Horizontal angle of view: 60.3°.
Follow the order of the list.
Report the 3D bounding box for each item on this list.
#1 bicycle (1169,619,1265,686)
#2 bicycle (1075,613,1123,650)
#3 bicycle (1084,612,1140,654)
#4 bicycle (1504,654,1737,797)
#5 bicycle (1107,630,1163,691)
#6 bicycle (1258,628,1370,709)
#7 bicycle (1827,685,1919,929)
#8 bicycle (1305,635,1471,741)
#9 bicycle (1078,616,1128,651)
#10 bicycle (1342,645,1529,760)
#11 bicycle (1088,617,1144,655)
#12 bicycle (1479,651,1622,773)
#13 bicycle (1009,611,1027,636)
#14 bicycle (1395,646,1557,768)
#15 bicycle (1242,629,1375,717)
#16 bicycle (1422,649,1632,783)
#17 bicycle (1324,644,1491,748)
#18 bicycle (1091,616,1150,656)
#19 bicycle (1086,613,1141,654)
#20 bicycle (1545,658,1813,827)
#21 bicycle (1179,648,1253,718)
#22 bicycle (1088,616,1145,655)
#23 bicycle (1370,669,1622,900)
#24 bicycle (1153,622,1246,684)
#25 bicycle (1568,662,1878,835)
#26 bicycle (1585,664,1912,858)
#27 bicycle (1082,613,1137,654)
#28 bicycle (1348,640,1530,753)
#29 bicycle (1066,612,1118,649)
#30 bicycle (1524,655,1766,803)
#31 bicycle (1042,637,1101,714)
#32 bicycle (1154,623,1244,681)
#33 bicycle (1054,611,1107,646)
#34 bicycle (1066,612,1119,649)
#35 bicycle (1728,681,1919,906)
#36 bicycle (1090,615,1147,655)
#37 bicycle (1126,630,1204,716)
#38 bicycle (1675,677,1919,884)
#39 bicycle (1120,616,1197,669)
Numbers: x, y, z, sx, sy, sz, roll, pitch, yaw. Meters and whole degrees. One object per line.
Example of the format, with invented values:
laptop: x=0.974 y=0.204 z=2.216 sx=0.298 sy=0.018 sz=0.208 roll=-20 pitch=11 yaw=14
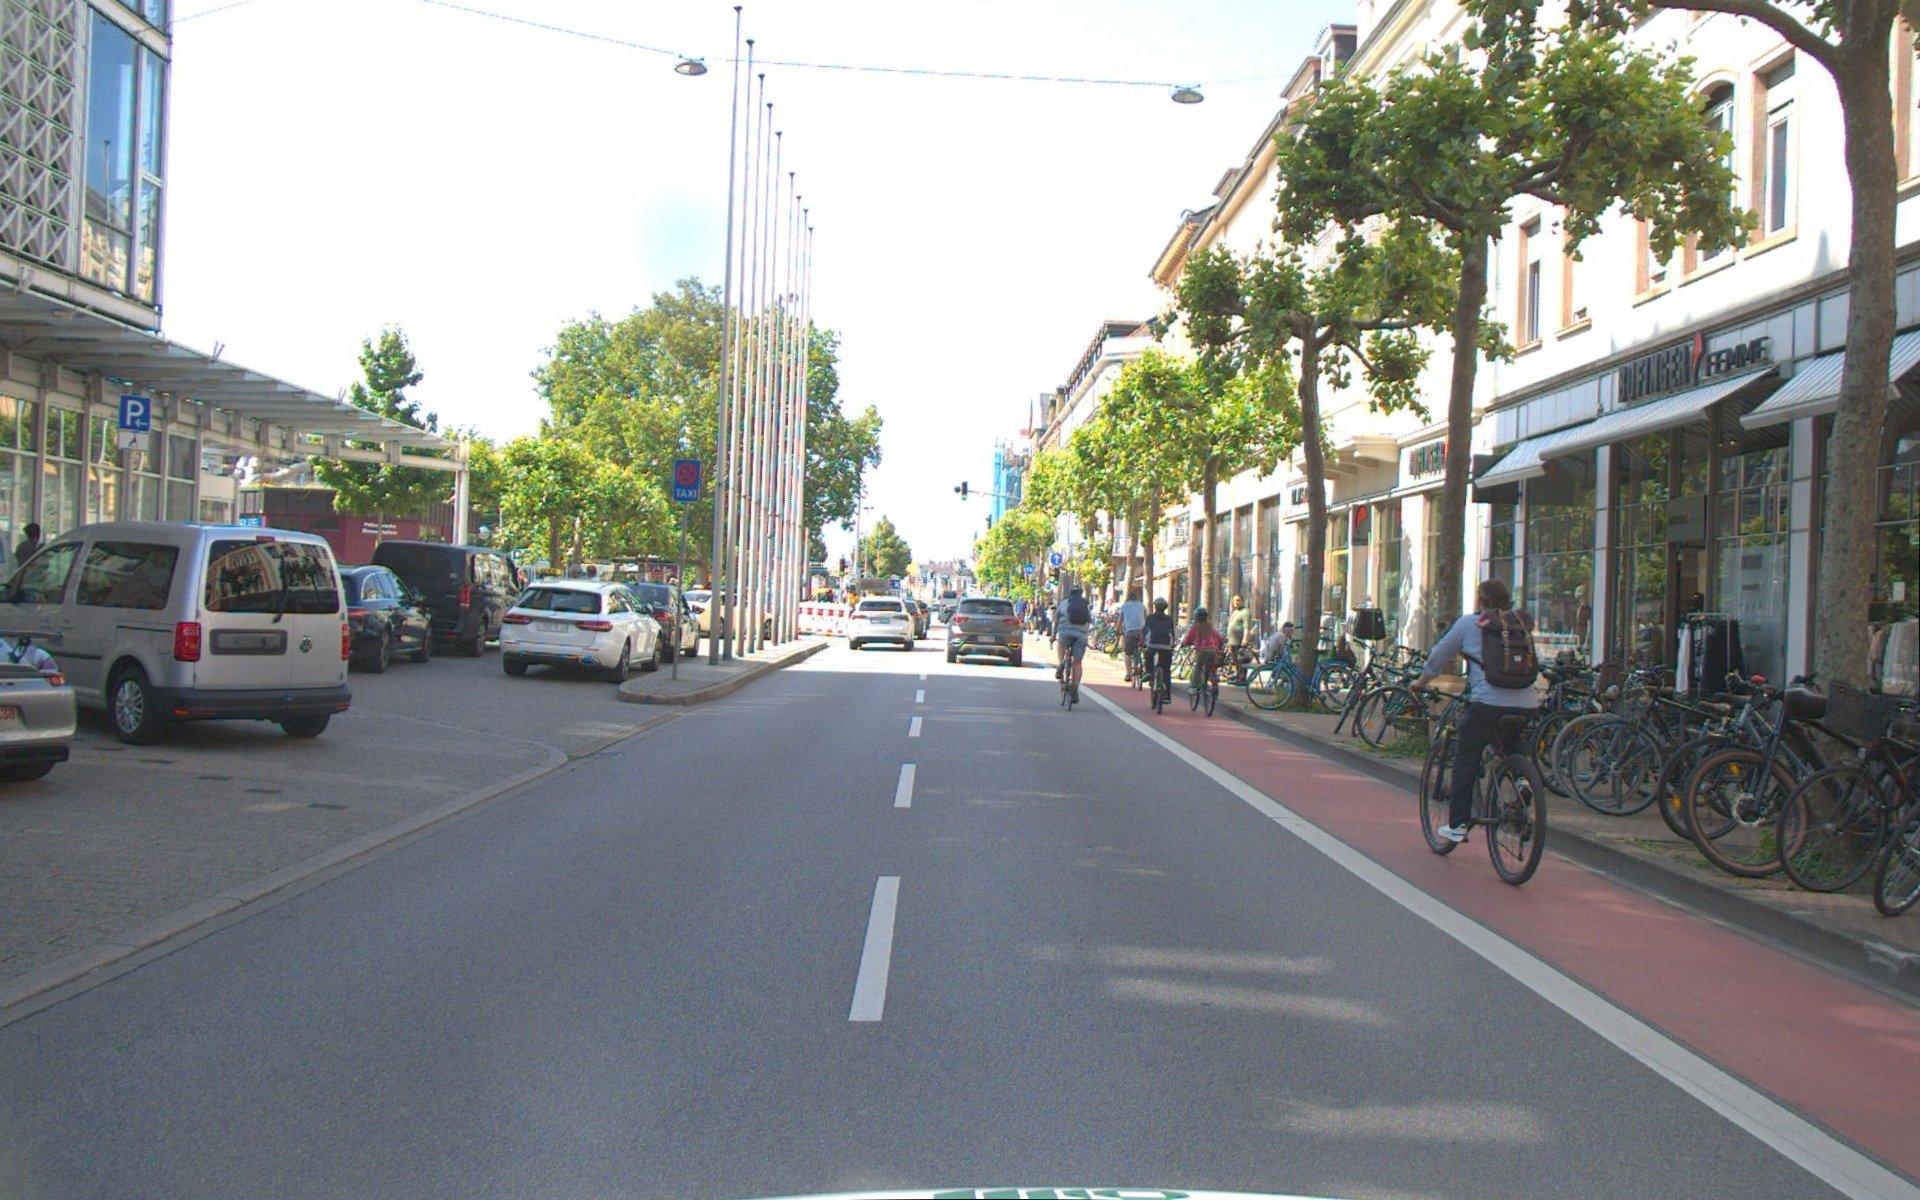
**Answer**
bicycle: x=5.044 y=1.033 z=32.549 sx=1.801 sy=1.218 sz=0.674 roll=3 pitch=-1 yaw=6
bicycle: x=4.858 y=1.086 z=57.949 sx=1.615 sy=1.222 sz=0.474 roll=2 pitch=-1 yaw=1
bicycle: x=4.779 y=1.043 z=52.001 sx=1.693 sy=1.238 sz=0.477 roll=2 pitch=-1 yaw=1
bicycle: x=5.645 y=1.061 z=14.182 sx=1.802 sy=1.147 sz=0.448 roll=2 pitch=-2 yaw=2
bicycle: x=3.228 y=1.108 z=30.685 sx=0.758 sy=1.023 sz=2.329 roll=2 pitch=0 yaw=-1
bicycle: x=5.610 y=1.090 z=26.199 sx=1.755 sy=1.218 sz=0.572 roll=3 pitch=-1 yaw=-29
bicycle: x=5.420 y=1.034 z=8.277 sx=1.802 sy=1.147 sz=0.666 roll=2 pitch=-1 yaw=1
bicycle: x=5.192 y=1.066 z=20.072 sx=1.807 sy=1.146 sz=0.630 roll=4 pitch=-1 yaw=-12
bicycle: x=4.883 y=1.136 z=56.426 sx=1.615 sy=1.114 sz=0.607 roll=2 pitch=-1 yaw=1
bicycle: x=5.119 y=1.098 z=17.857 sx=1.803 sy=1.112 sz=0.564 roll=3 pitch=-1 yaw=-1
bicycle: x=4.863 y=1.121 z=51.641 sx=1.693 sy=1.128 sz=0.477 roll=2 pitch=-1 yaw=1
bicycle: x=5.896 y=1.102 z=16.465 sx=1.827 sy=1.147 sz=0.442 roll=3 pitch=-2 yaw=-39
bicycle: x=2.467 y=0.999 z=70.144 sx=0.634 sy=1.015 sz=2.030 roll=2 pitch=0 yaw=-1
bicycle: x=5.164 y=1.052 z=16.503 sx=1.826 sy=1.147 sz=0.586 roll=3 pitch=-2 yaw=-37
bicycle: x=5.164 y=1.082 z=24.526 sx=1.806 sy=1.146 sz=0.496 roll=4 pitch=1 yaw=-9
bicycle: x=5.295 y=1.063 z=15.476 sx=1.804 sy=1.147 sz=0.447 roll=1 pitch=-2 yaw=27
bicycle: x=5.295 y=1.131 z=19.574 sx=1.807 sy=1.112 sz=0.563 roll=3 pitch=-1 yaw=-12
bicycle: x=4.828 y=1.075 z=49.955 sx=1.692 sy=1.128 sz=0.736 roll=2 pitch=0 yaw=1
bicycle: x=4.936 y=1.070 z=53.219 sx=1.693 sy=1.238 sz=0.477 roll=2 pitch=-1 yaw=1
bicycle: x=5.583 y=1.091 z=12.921 sx=1.801 sy=1.146 sz=0.530 roll=4 pitch=-1 yaw=11
bicycle: x=3.716 y=1.188 z=24.146 sx=0.588 sy=0.942 sz=2.085 roll=2 pitch=-2 yaw=-4
bicycle: x=4.836 y=1.101 z=51.221 sx=1.693 sy=1.128 sz=0.402 roll=2 pitch=-1 yaw=1
bicycle: x=3.194 y=1.056 z=10.089 sx=0.685 sy=1.146 sz=2.079 roll=3 pitch=0 yaw=-4
bicycle: x=4.865 y=1.073 z=33.612 sx=1.801 sy=1.146 sz=0.498 roll=3 pitch=-1 yaw=10
bicycle: x=5.581 y=1.062 z=12.207 sx=1.943 sy=1.147 sz=0.762 roll=1 pitch=-2 yaw=12
bicycle: x=5.175 y=1.042 z=10.925 sx=1.802 sy=1.146 sz=0.679 roll=2 pitch=-1 yaw=1
bicycle: x=4.761 y=1.056 z=52.726 sx=1.693 sy=1.238 sz=0.477 roll=2 pitch=-1 yaw=1
bicycle: x=5.444 y=1.088 z=18.835 sx=1.809 sy=1.146 sz=0.763 roll=4 pitch=-2 yaw=-14
bicycle: x=4.762 y=1.097 z=59.672 sx=1.806 sy=1.222 sz=0.608 roll=2 pitch=-1 yaw=1
bicycle: x=5.670 y=1.059 z=13.723 sx=1.802 sy=1.147 sz=0.448 roll=2 pitch=-2 yaw=2
bicycle: x=1.575 y=1.054 z=23.635 sx=0.617 sy=0.997 sz=2.088 roll=2 pitch=0 yaw=-2
bicycle: x=5.090 y=1.101 z=35.271 sx=1.801 sy=1.116 sz=0.794 roll=3 pitch=-1 yaw=4
bicycle: x=4.675 y=1.088 z=64.084 sx=1.904 sy=1.279 sz=0.701 roll=2 pitch=-1 yaw=-21
bicycle: x=4.734 y=1.086 z=59.166 sx=1.806 sy=1.222 sz=0.545 roll=2 pitch=-1 yaw=1
bicycle: x=5.284 y=1.054 z=9.087 sx=1.802 sy=1.147 sz=0.666 roll=2 pitch=-1 yaw=1
bicycle: x=4.866 y=1.071 z=50.808 sx=1.693 sy=1.128 sz=0.402 roll=2 pitch=-1 yaw=1
bicycle: x=2.997 y=1.047 z=24.377 sx=0.685 sy=1.146 sz=2.079 roll=3 pitch=0 yaw=-4
bicycle: x=5.252 y=1.059 z=9.780 sx=1.802 sy=1.147 sz=0.530 roll=2 pitch=-2 yaw=1
bicycle: x=4.956 y=1.063 z=41.377 sx=1.801 sy=1.206 sz=0.670 roll=3 pitch=-1 yaw=4
